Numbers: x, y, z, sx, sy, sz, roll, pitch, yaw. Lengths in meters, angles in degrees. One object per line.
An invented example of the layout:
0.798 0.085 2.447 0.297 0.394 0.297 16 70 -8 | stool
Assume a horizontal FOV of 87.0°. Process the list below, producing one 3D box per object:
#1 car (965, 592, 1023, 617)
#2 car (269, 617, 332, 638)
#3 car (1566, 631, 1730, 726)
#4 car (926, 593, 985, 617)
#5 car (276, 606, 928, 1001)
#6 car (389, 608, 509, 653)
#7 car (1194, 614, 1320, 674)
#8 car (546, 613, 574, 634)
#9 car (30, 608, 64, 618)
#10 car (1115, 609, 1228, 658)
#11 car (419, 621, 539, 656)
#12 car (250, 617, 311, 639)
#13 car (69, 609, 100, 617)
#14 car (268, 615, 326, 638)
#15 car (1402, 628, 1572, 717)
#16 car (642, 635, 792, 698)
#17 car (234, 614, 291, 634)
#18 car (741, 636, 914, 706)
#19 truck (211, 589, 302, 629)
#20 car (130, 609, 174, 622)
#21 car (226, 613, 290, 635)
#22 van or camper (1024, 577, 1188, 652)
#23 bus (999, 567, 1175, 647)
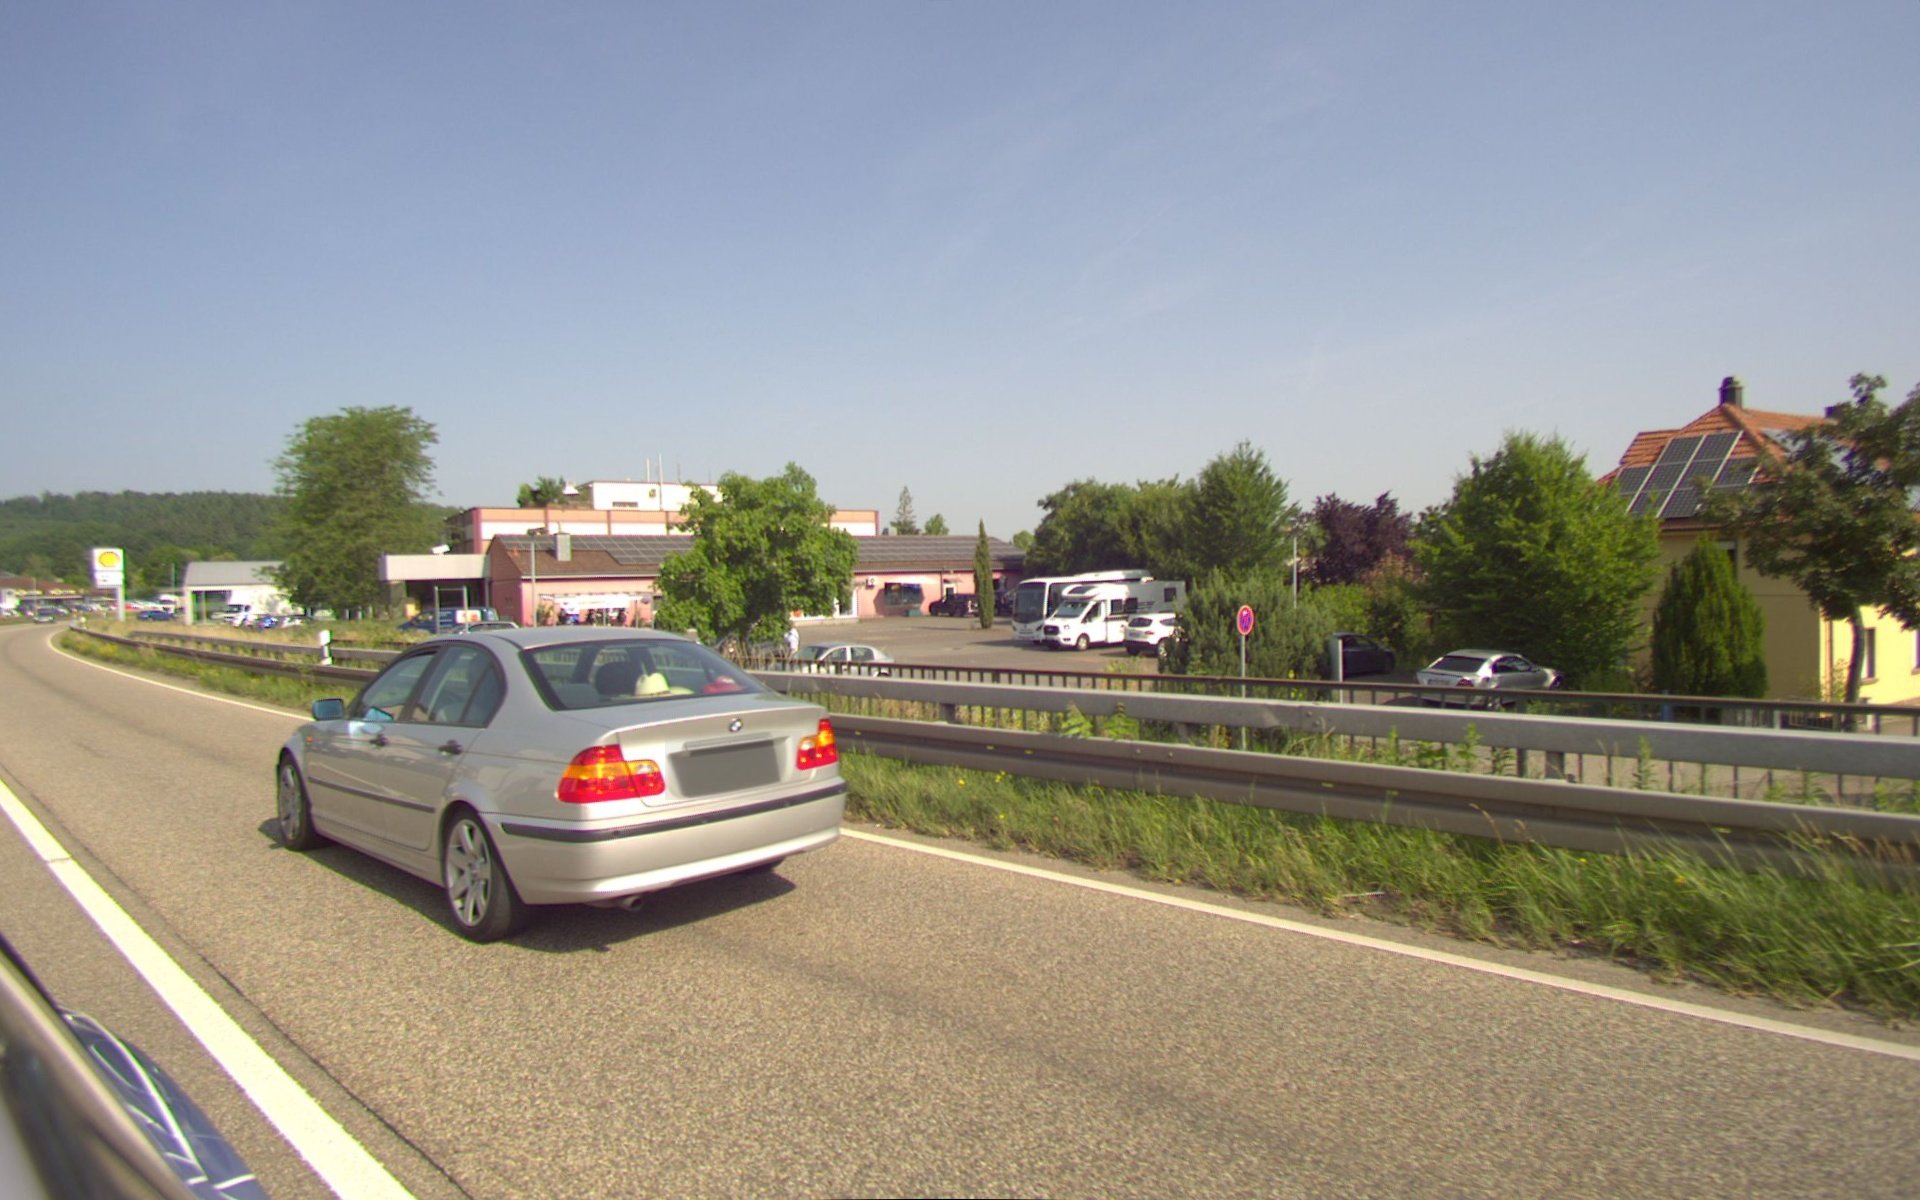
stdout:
2.421 0.329 74.129 1.714 1.770 4.641 -1 0 -36 | car
-49.097 2.029 75.383 3.702 1.471 1.864 -1 1 -42 | car
16.580 1.798 24.347 4.103 1.645 1.867 -5 5 -34 | car
-0.361 0.350 72.083 1.714 1.620 4.641 -1 0 -36 | car
-2.213 0.761 5.649 3.988 1.421 1.739 -1 -1 42 | car
-24.822 1.436 49.323 4.825 2.029 2.005 -1 0 -12 | car
10.254 1.453 34.797 4.499 1.645 1.866 -3 3 -38 | car
-22.672 1.323 57.340 0.804 1.154 2.019 -1 1 -42 | car
-155.403 2.232 172.335 3.930 1.644 1.927 -1 0 -24 | car
8.357 1.256 39.800 4.499 1.645 1.866 -3 1 -38 | car
-21.598 1.693 45.557 1.742 1.392 4.567 -1 0 41 | car
-53.414 2.142 79.575 3.702 1.511 1.935 -2 1 -42 | car
-163.387 2.442 188.938 3.982 1.518 1.812 0 0 -26 | car
-51.011 2.009 77.892 3.697 1.511 1.863 -2 1 -35 | car
13.833 1.816 26.504 4.496 1.645 1.868 -5 5 -31 | car
-7.510 2.006 31.586 1.874 1.678 4.253 -1 0 42 | car
-59.386 2.044 86.160 3.703 1.511 1.934 -2 1 -44 | car
-3.436 1.806 26.768 4.249 1.516 1.875 -1 0 -44 | car
-67.987 0.802 98.033 2.769 3.583 8.206 -2 1 2 | truck
-106.962 2.028 133.948 1.967 1.518 4.211 -1 0 16 | car
-61.209 2.066 88.288 4.299 1.667 1.934 -2 1 -44 | car
6.472 0.549 44.156 7.299 2.863 2.753 -3 1 -38 | van or camper
6.234 0.254 48.589 8.982 3.380 2.670 -3 0 -38 | bus
